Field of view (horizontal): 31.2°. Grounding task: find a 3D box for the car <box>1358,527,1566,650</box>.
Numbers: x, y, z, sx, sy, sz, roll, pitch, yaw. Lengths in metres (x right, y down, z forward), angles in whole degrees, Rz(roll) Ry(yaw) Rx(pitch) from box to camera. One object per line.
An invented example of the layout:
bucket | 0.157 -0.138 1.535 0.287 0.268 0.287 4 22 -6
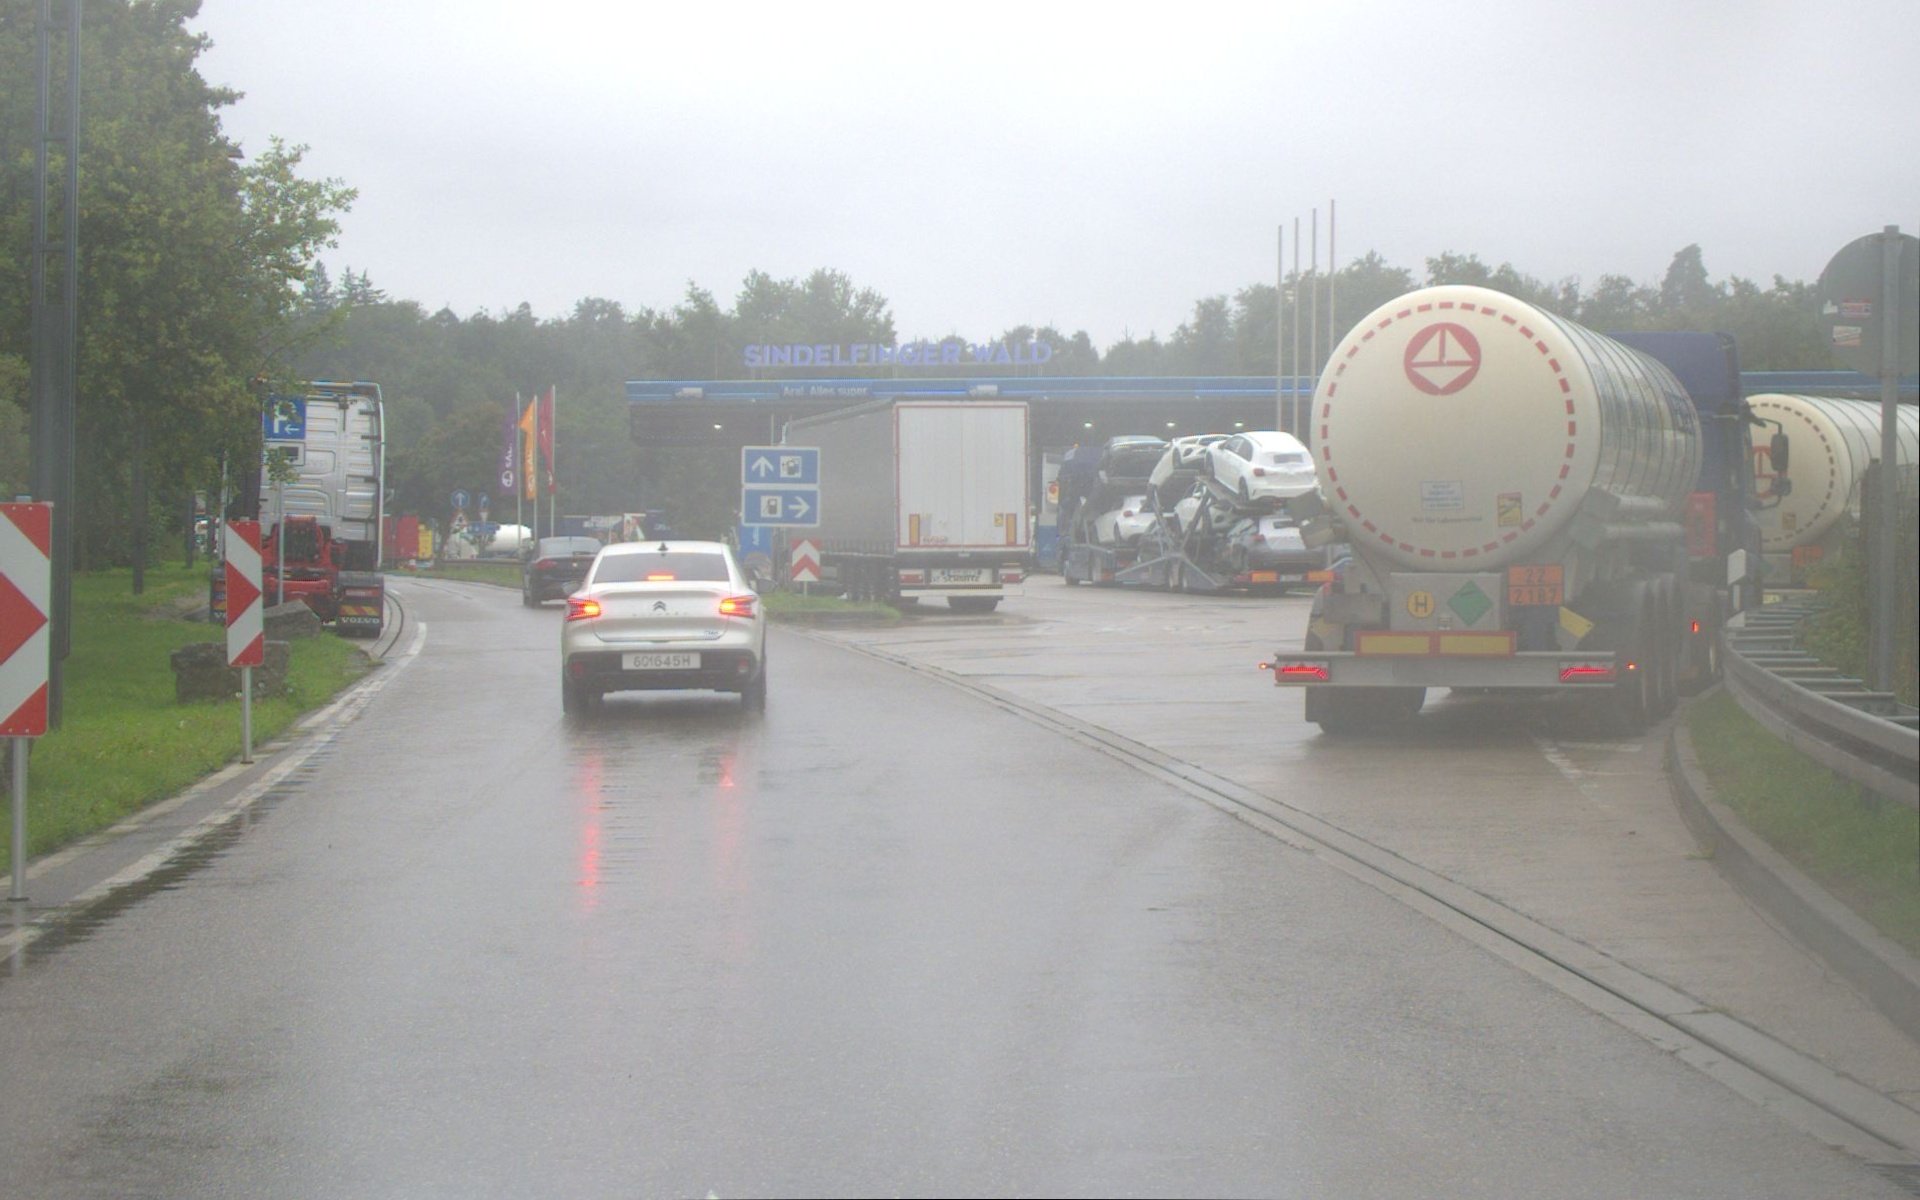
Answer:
car | 7.601 -0.153 51.767 1.745 1.662 3.993 2 -1 29

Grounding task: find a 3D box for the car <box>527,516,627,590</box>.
car | -7.887 -0.970 71.046 1.878 1.456 4.001 1 1 -4

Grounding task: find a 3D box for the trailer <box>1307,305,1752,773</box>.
trailer | 5.065 -0.518 28.798 1.982 3.213 10.312 1 1 19

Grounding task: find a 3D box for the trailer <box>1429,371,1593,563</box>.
trailer | 13.767 -3.226 86.624 1.993 4.543 9.811 0 1 -3

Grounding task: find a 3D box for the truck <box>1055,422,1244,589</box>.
truck | 4.912 -2.502 91.129 3.233 4.174 8.446 1 2 -9

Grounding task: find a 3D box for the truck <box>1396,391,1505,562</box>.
truck | 13.359 -3.326 93.915 1.988 4.534 4.796 0 1 -3

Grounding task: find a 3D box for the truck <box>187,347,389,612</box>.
truck | -10.487 -1.840 53.809 2.914 3.891 6.318 0 1 -11

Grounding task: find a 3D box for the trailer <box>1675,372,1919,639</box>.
trailer | 12.795 -1.335 49.077 2.134 3.428 10.237 1 2 29

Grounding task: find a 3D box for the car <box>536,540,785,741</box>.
car | -2.625 0.349 31.006 1.993 1.673 4.000 1 0 -2

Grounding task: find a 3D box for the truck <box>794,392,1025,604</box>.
truck | -1.207 -2.020 68.840 2.370 3.860 12.459 -1 2 -11

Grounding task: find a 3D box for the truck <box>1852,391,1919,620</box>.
truck | 15.832 -1.489 54.614 2.149 3.501 4.639 0 1 29

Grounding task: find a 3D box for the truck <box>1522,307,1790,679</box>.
truck | 7.179 -1.060 35.084 2.055 3.519 4.741 1 1 19

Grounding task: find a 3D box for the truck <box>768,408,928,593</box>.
truck | -2.543 -2.185 75.577 2.370 3.860 7.014 -1 2 -11

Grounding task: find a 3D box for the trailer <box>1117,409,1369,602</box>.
trailer | 6.482 -2.235 81.264 3.215 4.174 11.533 1 2 -9

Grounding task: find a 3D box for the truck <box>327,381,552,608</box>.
truck | -13.172 -2.550 85.950 4.790 5.287 11.073 0 1 -13
